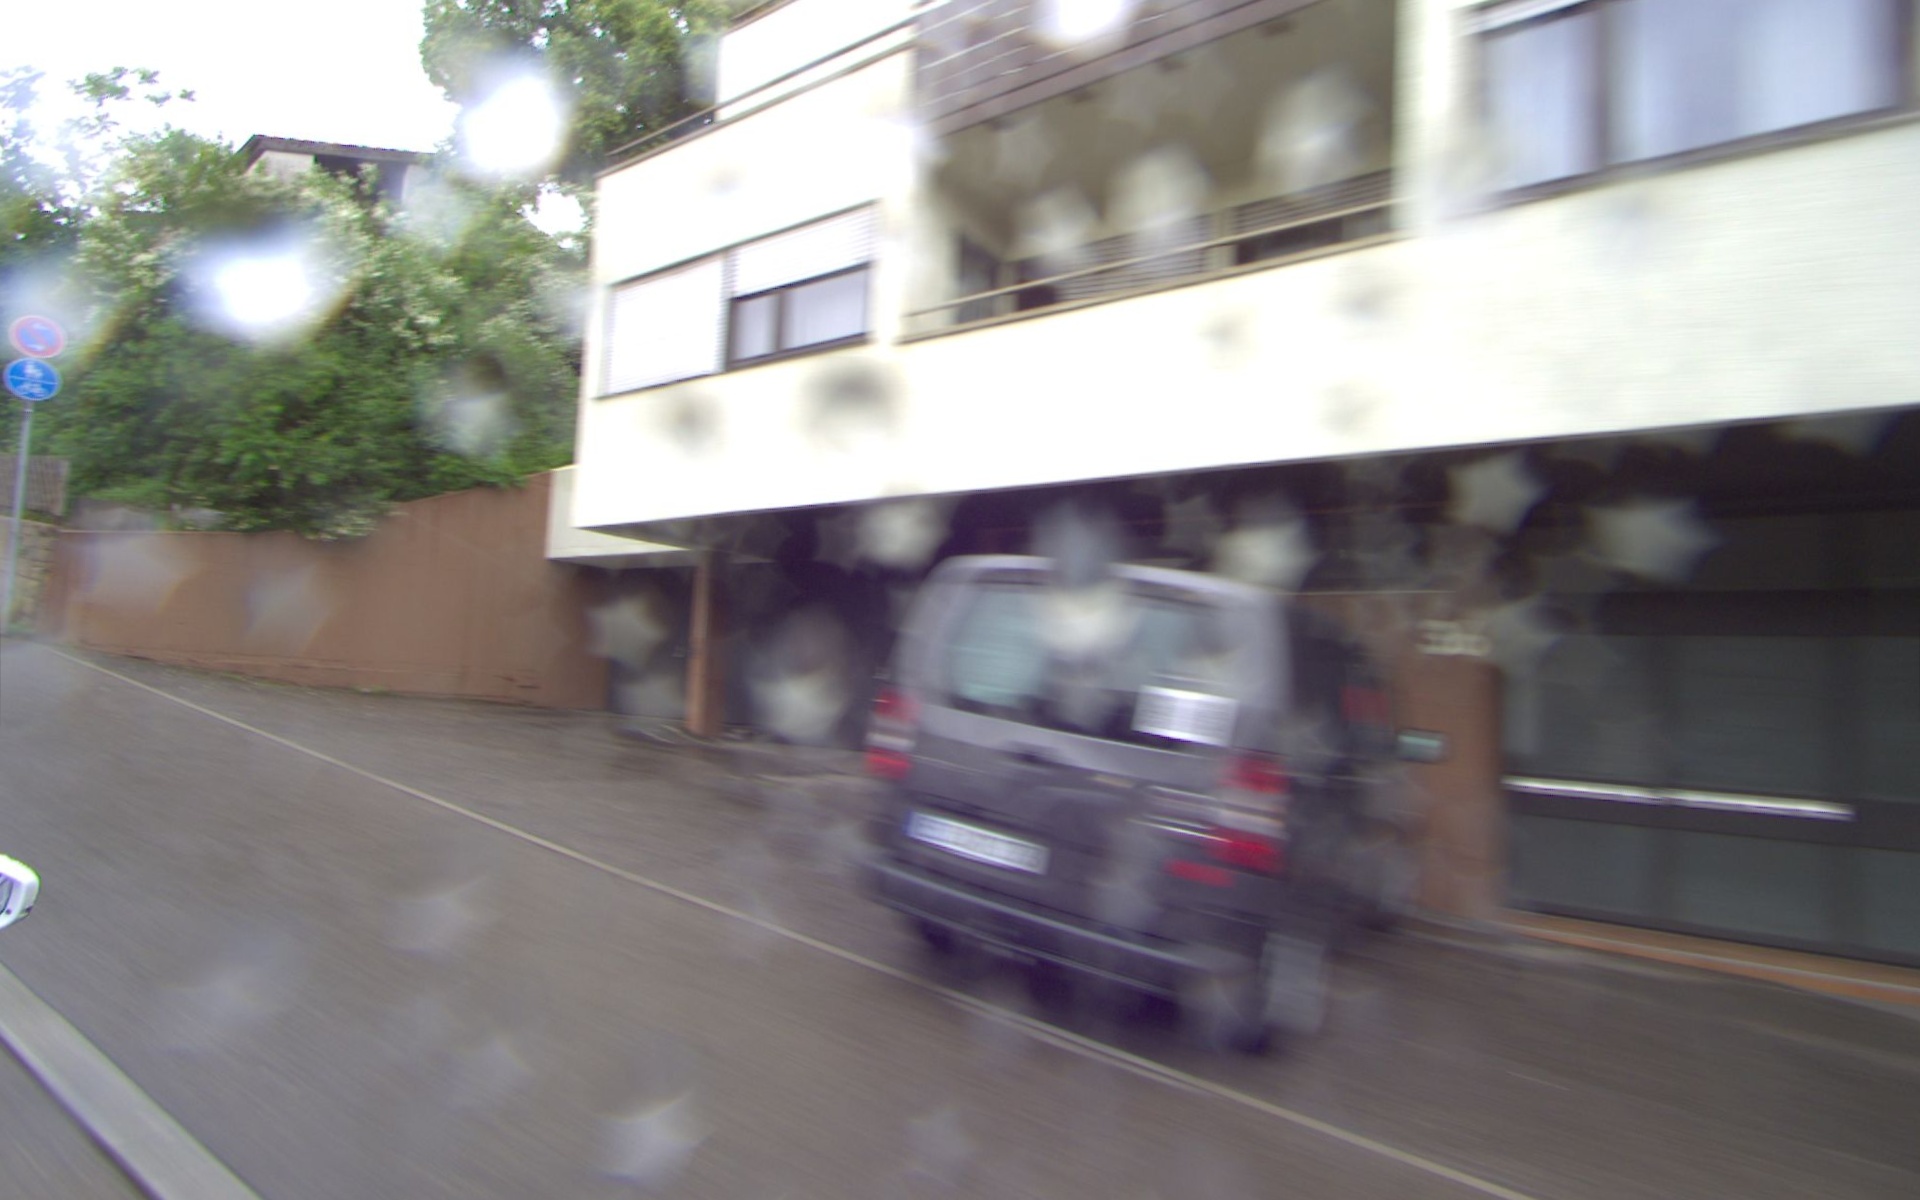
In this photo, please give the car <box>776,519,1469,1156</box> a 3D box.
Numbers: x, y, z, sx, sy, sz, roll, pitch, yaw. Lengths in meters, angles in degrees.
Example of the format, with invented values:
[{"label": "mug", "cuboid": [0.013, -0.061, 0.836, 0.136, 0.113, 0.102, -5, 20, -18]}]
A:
[{"label": "car", "cuboid": [1.409, 0.898, 5.584, 1.967, 1.841, 4.715, 7, -2, 32]}]
